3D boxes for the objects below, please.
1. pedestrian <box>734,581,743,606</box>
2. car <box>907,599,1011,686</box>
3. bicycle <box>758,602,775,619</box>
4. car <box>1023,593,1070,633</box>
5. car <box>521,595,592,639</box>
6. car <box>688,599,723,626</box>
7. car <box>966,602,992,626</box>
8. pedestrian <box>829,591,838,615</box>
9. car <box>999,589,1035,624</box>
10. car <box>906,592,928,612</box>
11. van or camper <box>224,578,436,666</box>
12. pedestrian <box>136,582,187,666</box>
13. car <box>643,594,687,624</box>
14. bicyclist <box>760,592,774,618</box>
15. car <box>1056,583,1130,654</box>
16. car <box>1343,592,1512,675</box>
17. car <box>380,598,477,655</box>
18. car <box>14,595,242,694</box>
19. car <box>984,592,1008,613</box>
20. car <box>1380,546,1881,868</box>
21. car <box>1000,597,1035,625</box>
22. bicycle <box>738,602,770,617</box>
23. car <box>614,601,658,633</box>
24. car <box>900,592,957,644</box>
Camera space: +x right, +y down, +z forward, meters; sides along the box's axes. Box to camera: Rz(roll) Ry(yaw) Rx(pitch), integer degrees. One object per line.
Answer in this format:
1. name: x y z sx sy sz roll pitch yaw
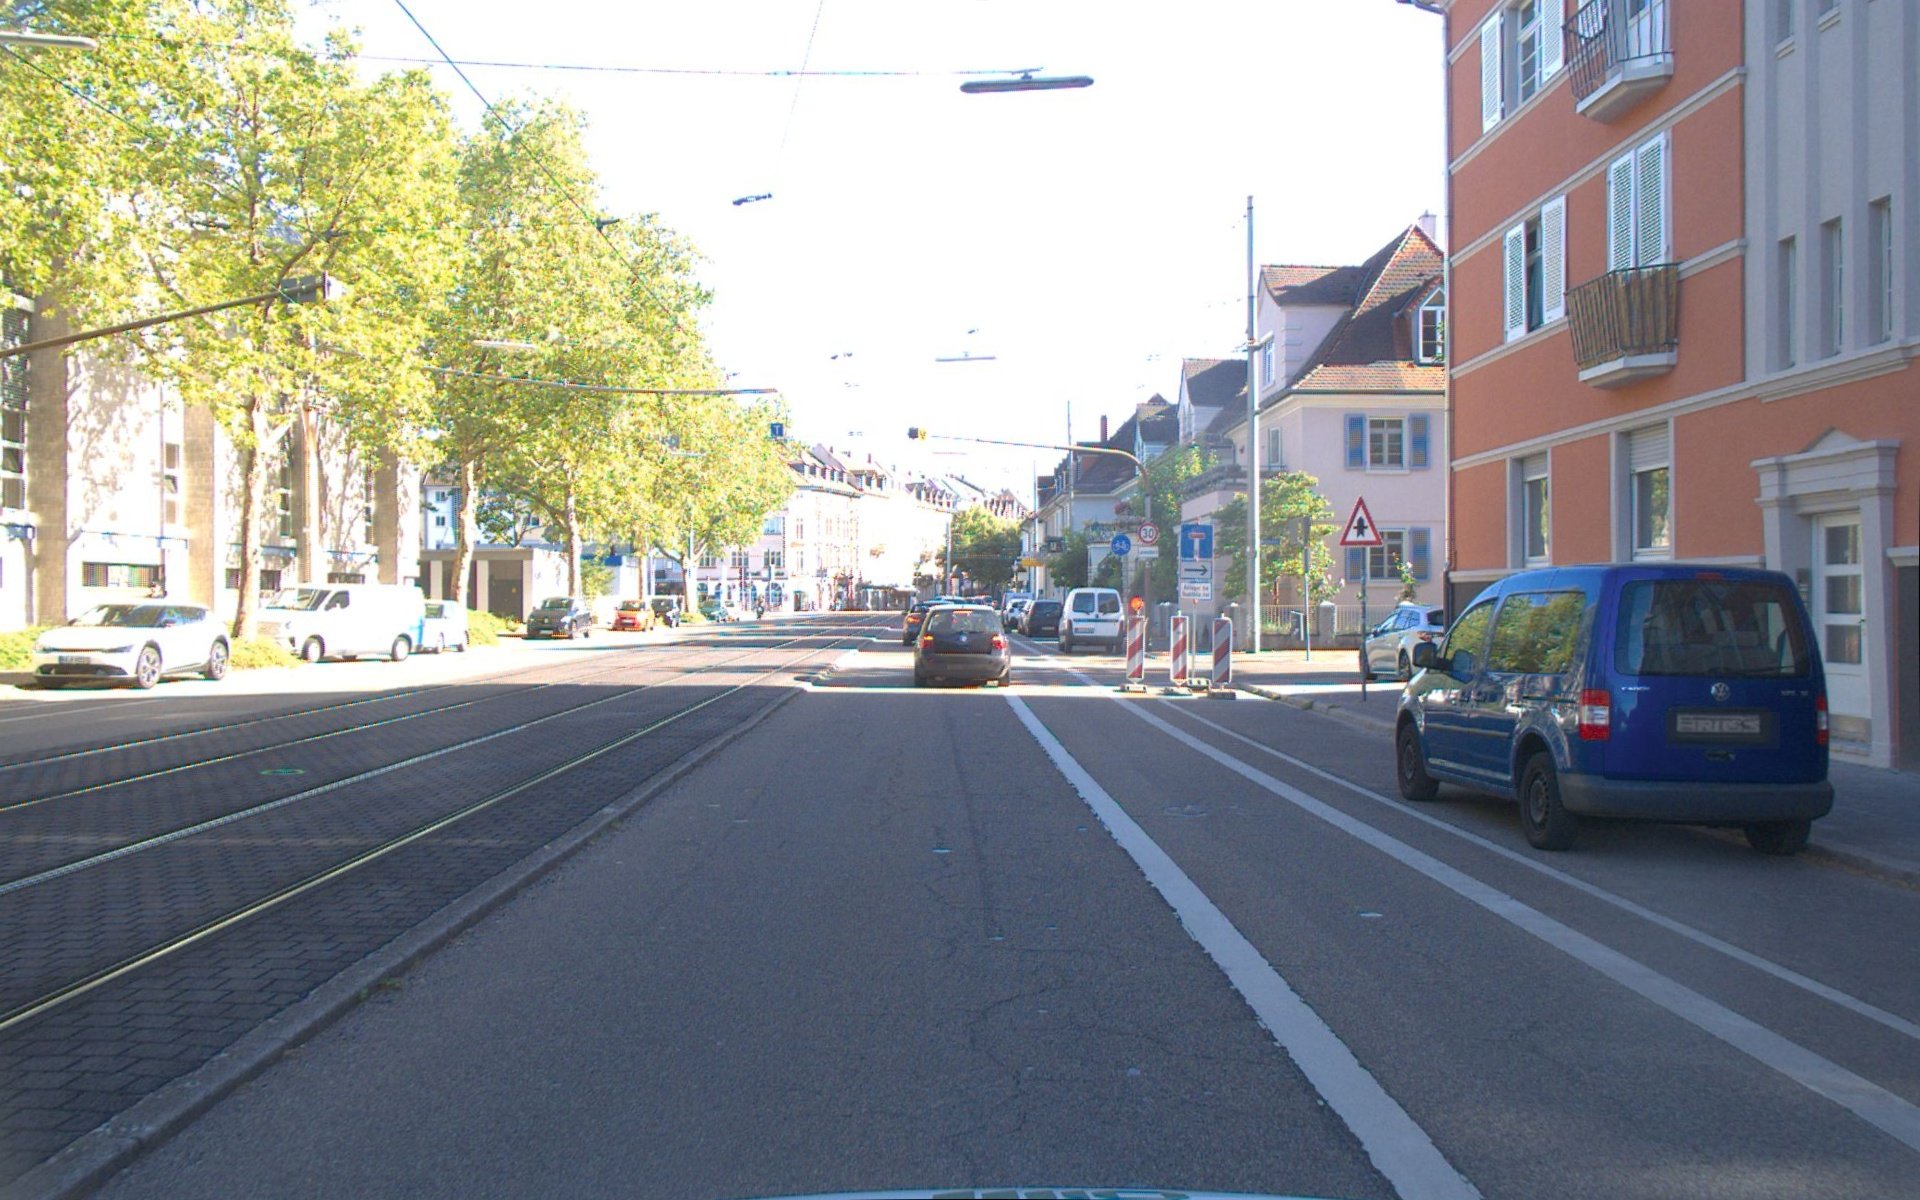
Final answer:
1. pedestrian: -25.020 -0.735 186.622 0.939 2.706 1.097 2 0 -10
2. car: -0.086 0.712 29.731 1.713 1.399 3.998 0 0 -2
3. bicycle: -13.741 0.746 117.504 0.895 1.102 3.202 2 0 -1
4. car: 3.455 0.502 66.789 1.627 1.552 4.035 0 0 -1
5. car: -15.870 0.640 65.230 1.849 1.695 3.999 0 0 -1
6. car: -16.953 0.826 110.399 1.846 1.698 3.803 2 0 -2
7. car: 1.232 0.908 107.322 1.603 1.498 3.728 0 0 -1
8. pedestrian: -14.492 0.328 190.103 0.937 2.706 1.099 2 0 -3
9. car: 3.055 0.339 89.434 1.780 1.830 3.999 0 0 -1
10. car: -3.342 0.161 129.088 1.603 1.498 3.728 -1 0 -1
11. van or camper: -15.472 0.504 40.960 2.017 1.983 5.191 2 0 19
12. pedestrian: -17.903 0.531 37.084 0.780 1.852 0.670 2 0 -1
13. car: -16.212 0.480 91.052 1.756 1.491 3.835 3 0 -1
14. bicyclist: -13.727 0.360 117.570 0.895 1.865 0.960 2 0 -1
15. car: 3.739 0.490 47.070 1.723 1.870 3.547 2 0 -1
16. car: 8.612 0.672 30.882 1.668 1.413 4.513 -1 -2 -3
17. car: -15.502 0.743 48.421 1.542 1.533 4.089 2 0 -1
18. car: -15.234 0.756 30.613 1.971 1.600 4.691 2 0 -2
19. car: 2.587 0.168 119.351 1.603 1.498 3.728 0 0 -1
20. car: 4.483 0.623 11.836 1.668 1.842 4.269 2 0 -2
21. car: 2.926 0.531 84.581 1.548 1.399 3.999 0 0 -1
22. bicycle: -17.864 0.819 143.497 2.687 1.285 0.706 2 0 -1
23. car: -16.001 0.838 81.751 1.538 1.560 3.571 0 -1 -1
24. car: -0.977 0.546 52.535 1.713 1.564 3.891 0 0 0
